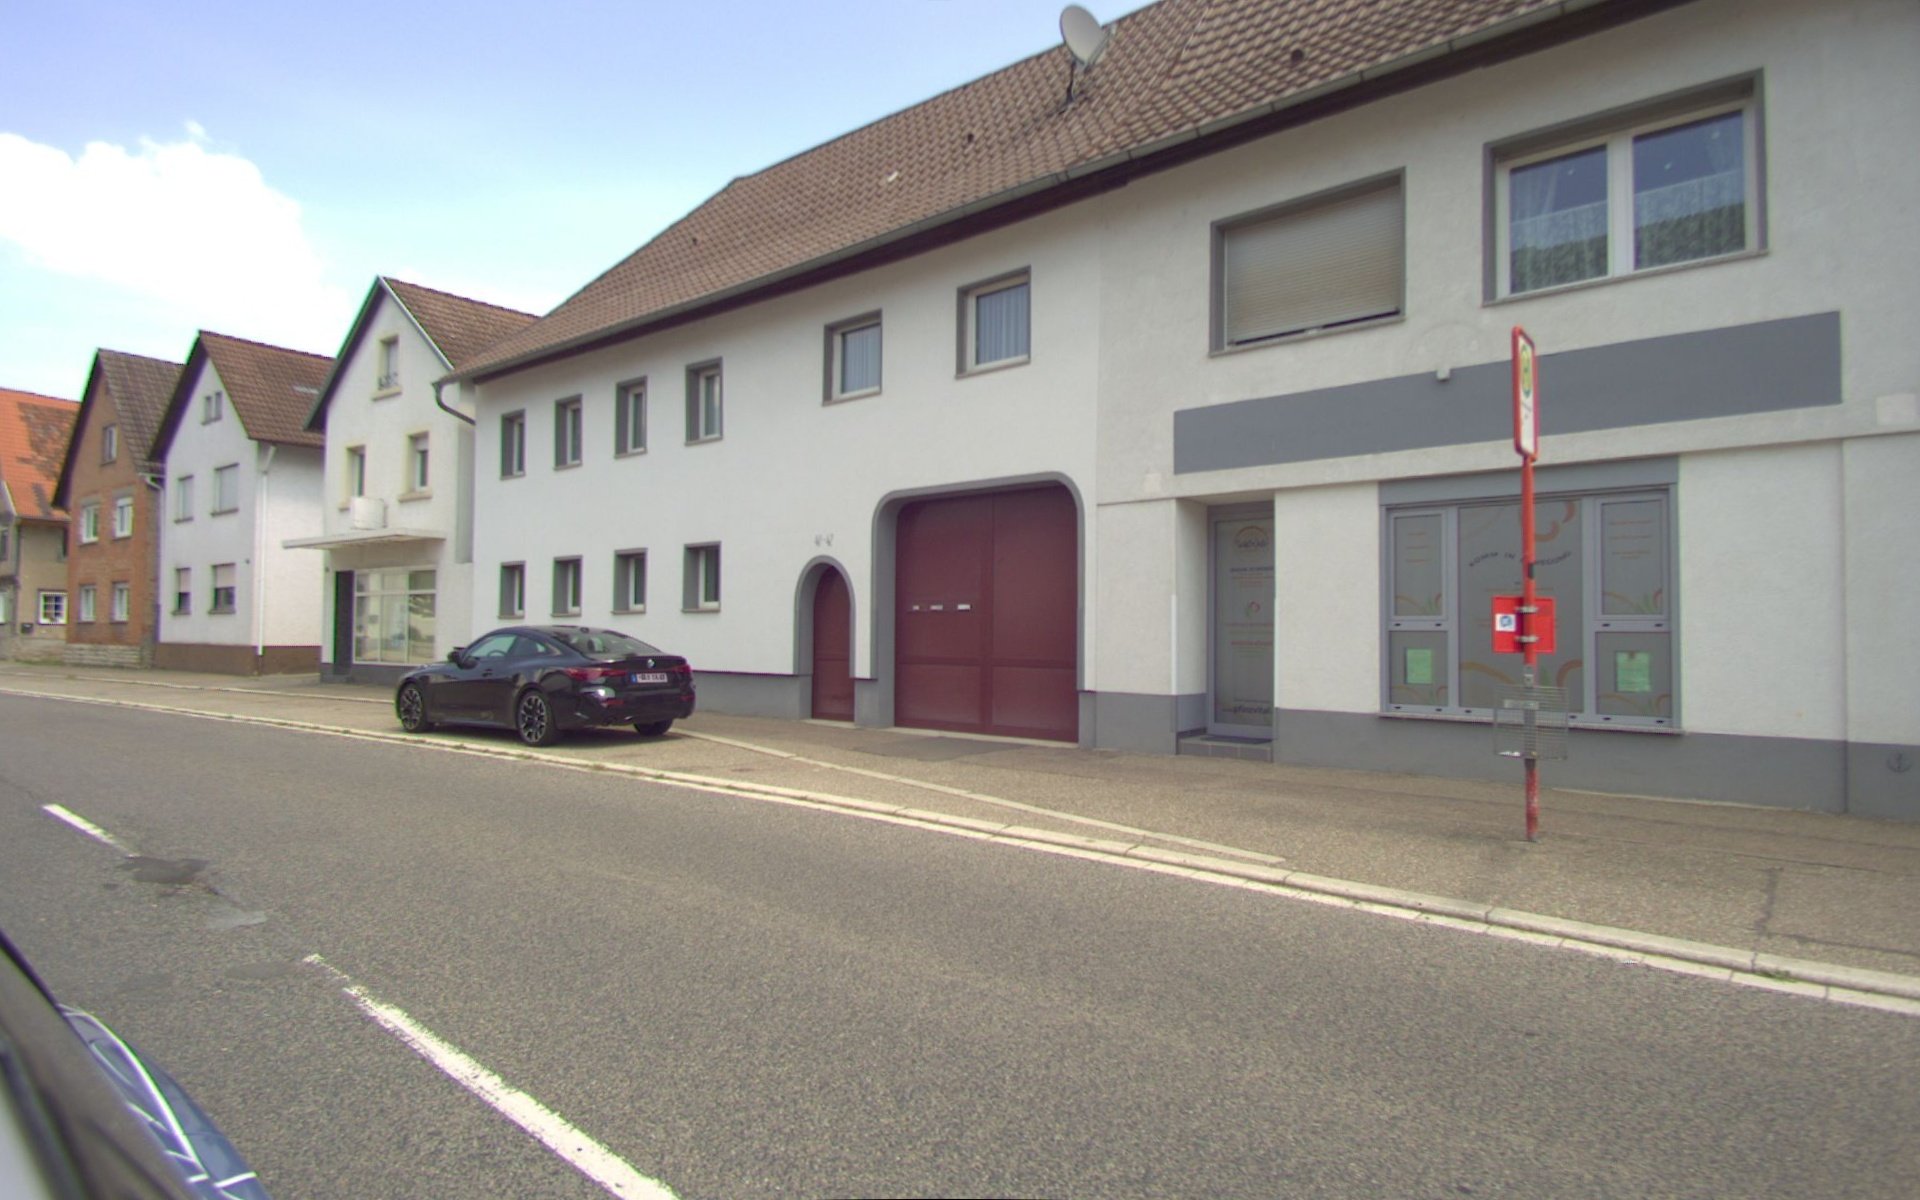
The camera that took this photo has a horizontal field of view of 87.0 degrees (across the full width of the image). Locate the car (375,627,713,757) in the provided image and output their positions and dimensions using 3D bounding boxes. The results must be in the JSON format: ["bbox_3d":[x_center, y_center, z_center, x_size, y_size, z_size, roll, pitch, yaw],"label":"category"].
[{"bbox_3d":[-5.404,1.067,12.871,4.746,1.359,1.750,-2,-2,36],"label":"car"}]
